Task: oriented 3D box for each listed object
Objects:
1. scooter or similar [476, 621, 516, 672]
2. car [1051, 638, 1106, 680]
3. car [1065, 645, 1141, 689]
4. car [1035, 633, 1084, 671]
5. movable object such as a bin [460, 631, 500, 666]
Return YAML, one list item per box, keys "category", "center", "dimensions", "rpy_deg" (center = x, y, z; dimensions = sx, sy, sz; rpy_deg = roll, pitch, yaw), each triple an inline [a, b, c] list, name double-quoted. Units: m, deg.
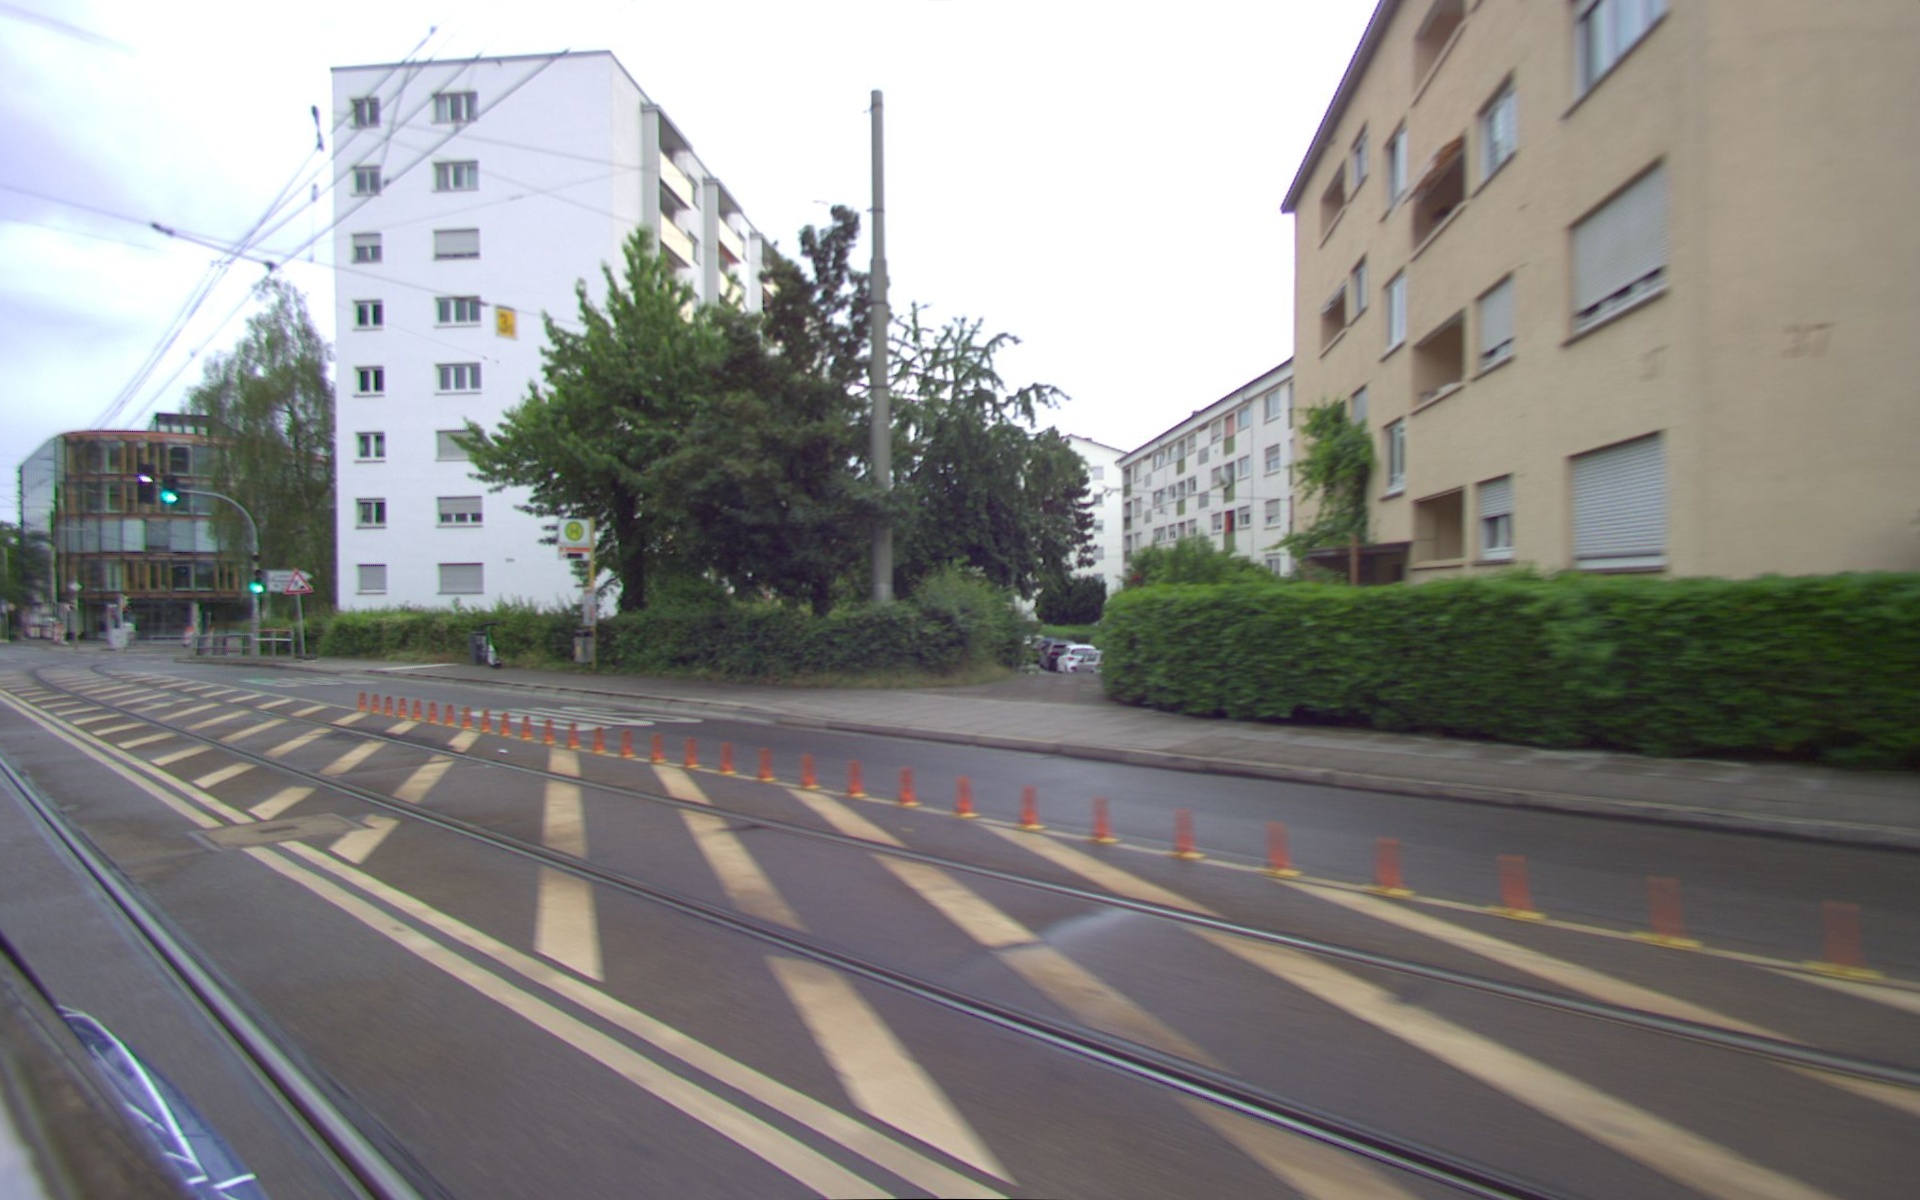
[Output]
- category: "scooter or similar"
  center: [-11.762, 1.147, 25.634]
  dimensions: [0.565, 1.193, 1.603]
  rpy_deg: [-2, 1, -38]
- category: "car"
  center: [5.584, 2.755, 48.182]
  dimensions: [1.811, 1.658, 4.004]
  rpy_deg: [-1, 1, -4]
- category: "car"
  center: [6.051, 2.813, 43.268]
  dimensions: [1.967, 1.497, 4.009]
  rpy_deg: [-1, 1, -11]
- category: "car"
  center: [5.126, 2.674, 52.651]
  dimensions: [1.811, 1.658, 4.004]
  rpy_deg: [-1, 1, -4]
- category: "movable object such as a bin"
  center: [-12.908, 1.290, 27.212]
  dimensions: [0.759, 0.888, 0.680]
  rpy_deg: [0, 1, 37]
